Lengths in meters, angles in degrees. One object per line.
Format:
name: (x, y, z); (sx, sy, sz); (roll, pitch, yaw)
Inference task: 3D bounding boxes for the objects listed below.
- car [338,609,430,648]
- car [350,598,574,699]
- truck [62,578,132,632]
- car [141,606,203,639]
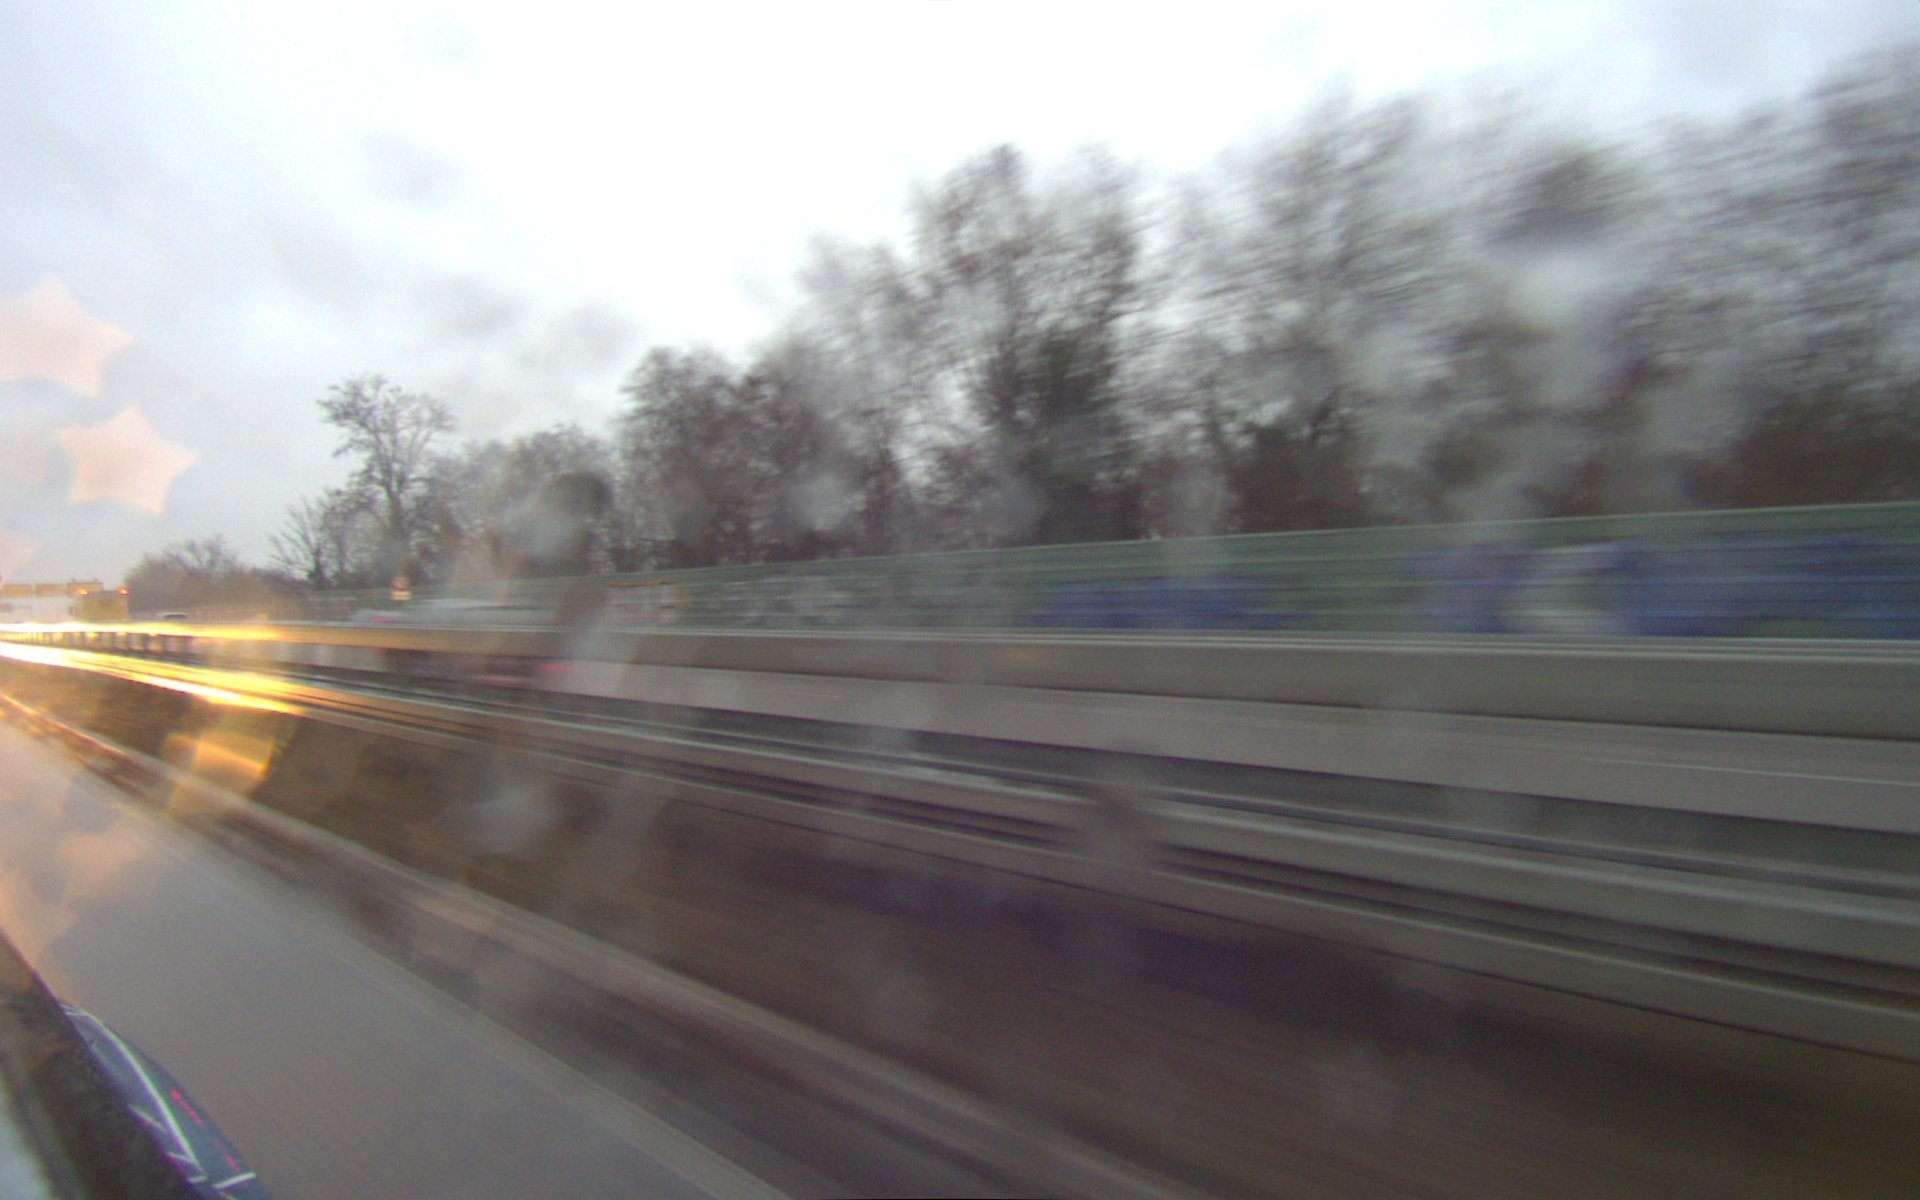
car: (-24.291, 1.160, 42.614); (4.796, 1.525, 1.972); (-1, 0, 42)
car: (-8.675, 0.744, 17.427); (4.670, 1.493, 1.845); (-1, 0, 42)
truck: (-65.989, 0.357, 77.278); (9.370, 3.886, 3.044); (-1, 0, 43)
car: (-41.784, 1.180, 53.645); (3.999, 1.661, 1.972); (-1, 0, 42)
